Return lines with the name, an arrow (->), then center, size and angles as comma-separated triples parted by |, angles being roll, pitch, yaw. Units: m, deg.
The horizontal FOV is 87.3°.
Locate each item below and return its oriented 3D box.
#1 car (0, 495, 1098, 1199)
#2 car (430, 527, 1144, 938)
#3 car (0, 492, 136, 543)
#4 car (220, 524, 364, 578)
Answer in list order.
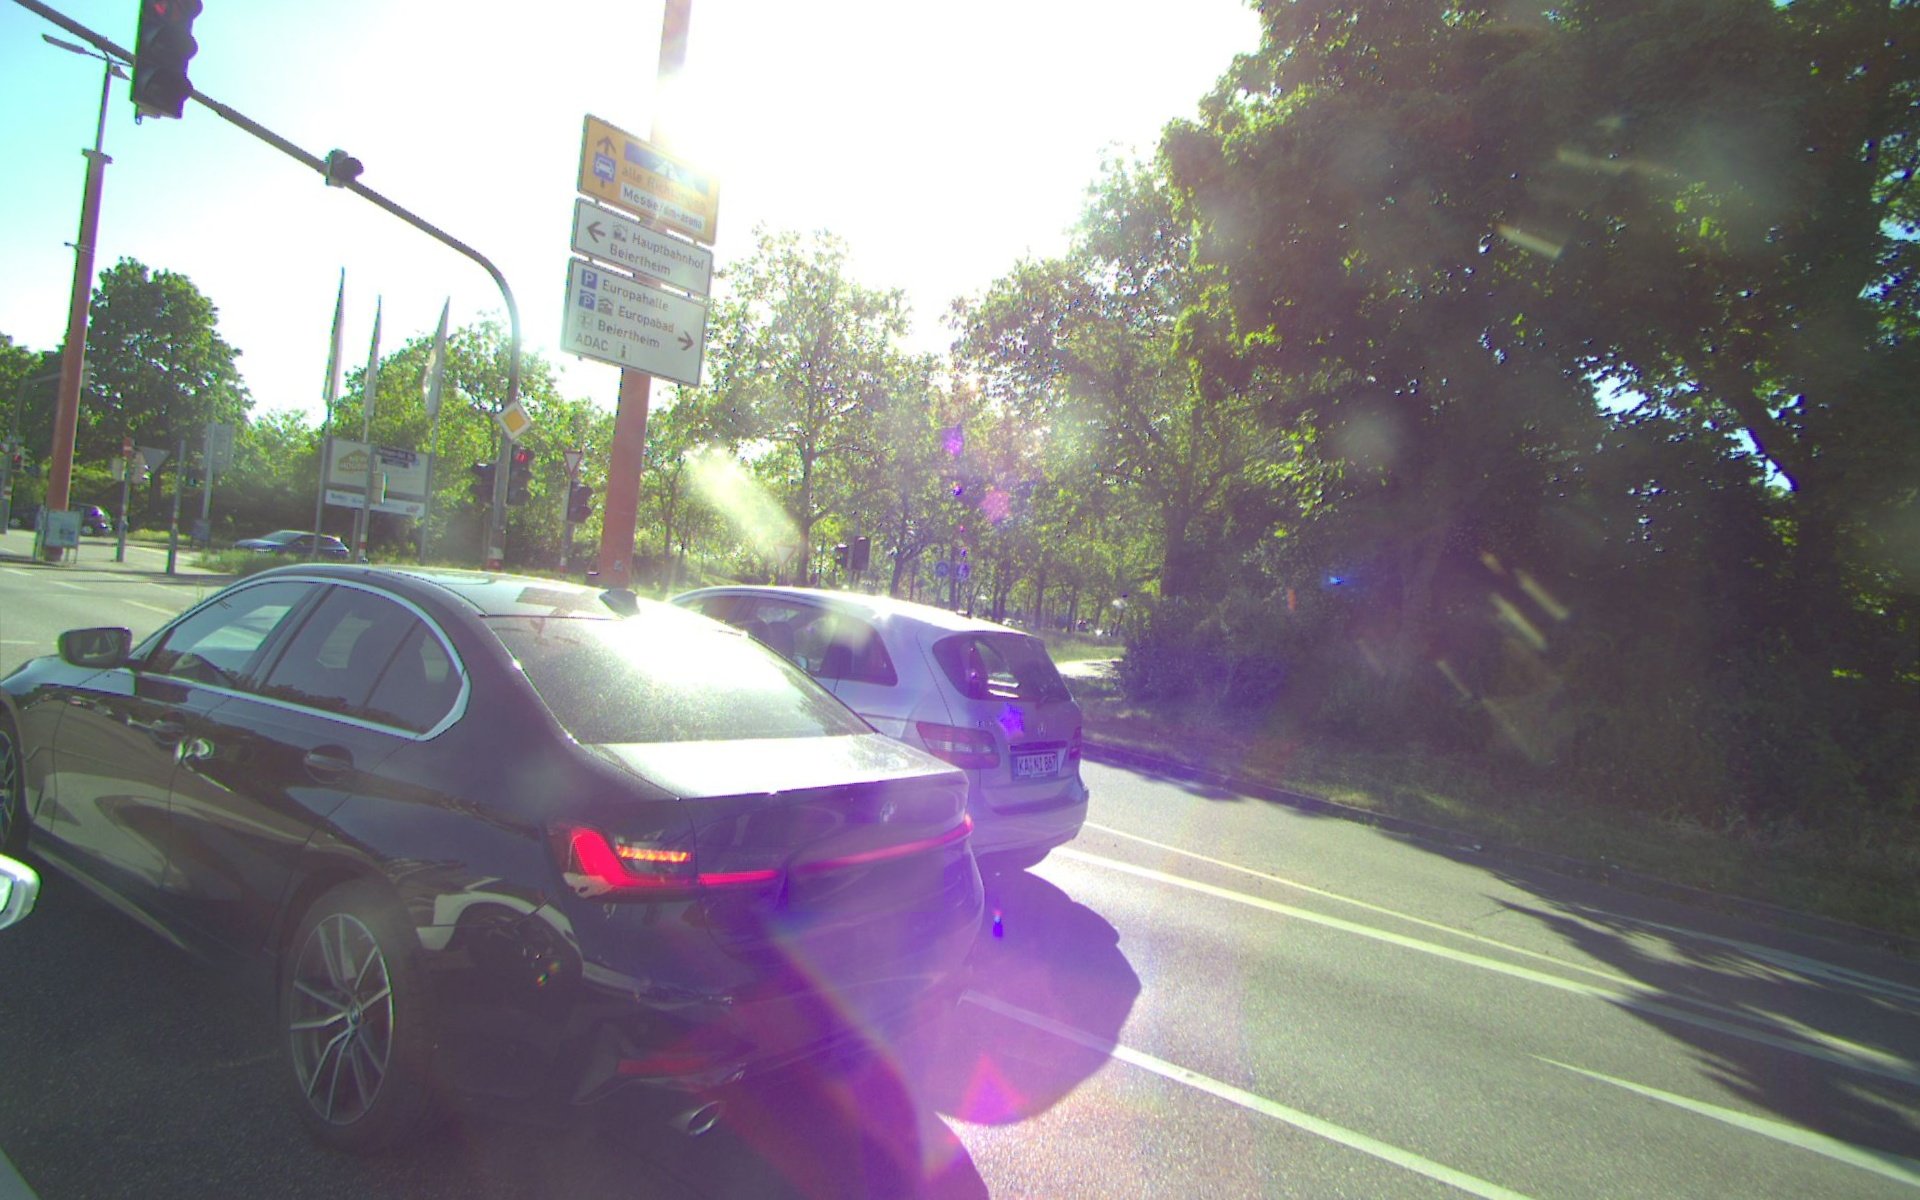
car -> -1.959, 0.526, 3.888 | 4.403, 1.411, 1.996 | 7, 0, 32
car -> -1.281, 0.638, 6.796 | 4.403, 1.706, 1.970 | 7, -1, 32
car -> -40.168, -3.680, 45.345 | 4.236, 1.592, 2.149 | 7, -1, -31
car -> -25.087, -1.811, 37.989 | 1.848, 1.445, 4.283 | 7, -1, 14
